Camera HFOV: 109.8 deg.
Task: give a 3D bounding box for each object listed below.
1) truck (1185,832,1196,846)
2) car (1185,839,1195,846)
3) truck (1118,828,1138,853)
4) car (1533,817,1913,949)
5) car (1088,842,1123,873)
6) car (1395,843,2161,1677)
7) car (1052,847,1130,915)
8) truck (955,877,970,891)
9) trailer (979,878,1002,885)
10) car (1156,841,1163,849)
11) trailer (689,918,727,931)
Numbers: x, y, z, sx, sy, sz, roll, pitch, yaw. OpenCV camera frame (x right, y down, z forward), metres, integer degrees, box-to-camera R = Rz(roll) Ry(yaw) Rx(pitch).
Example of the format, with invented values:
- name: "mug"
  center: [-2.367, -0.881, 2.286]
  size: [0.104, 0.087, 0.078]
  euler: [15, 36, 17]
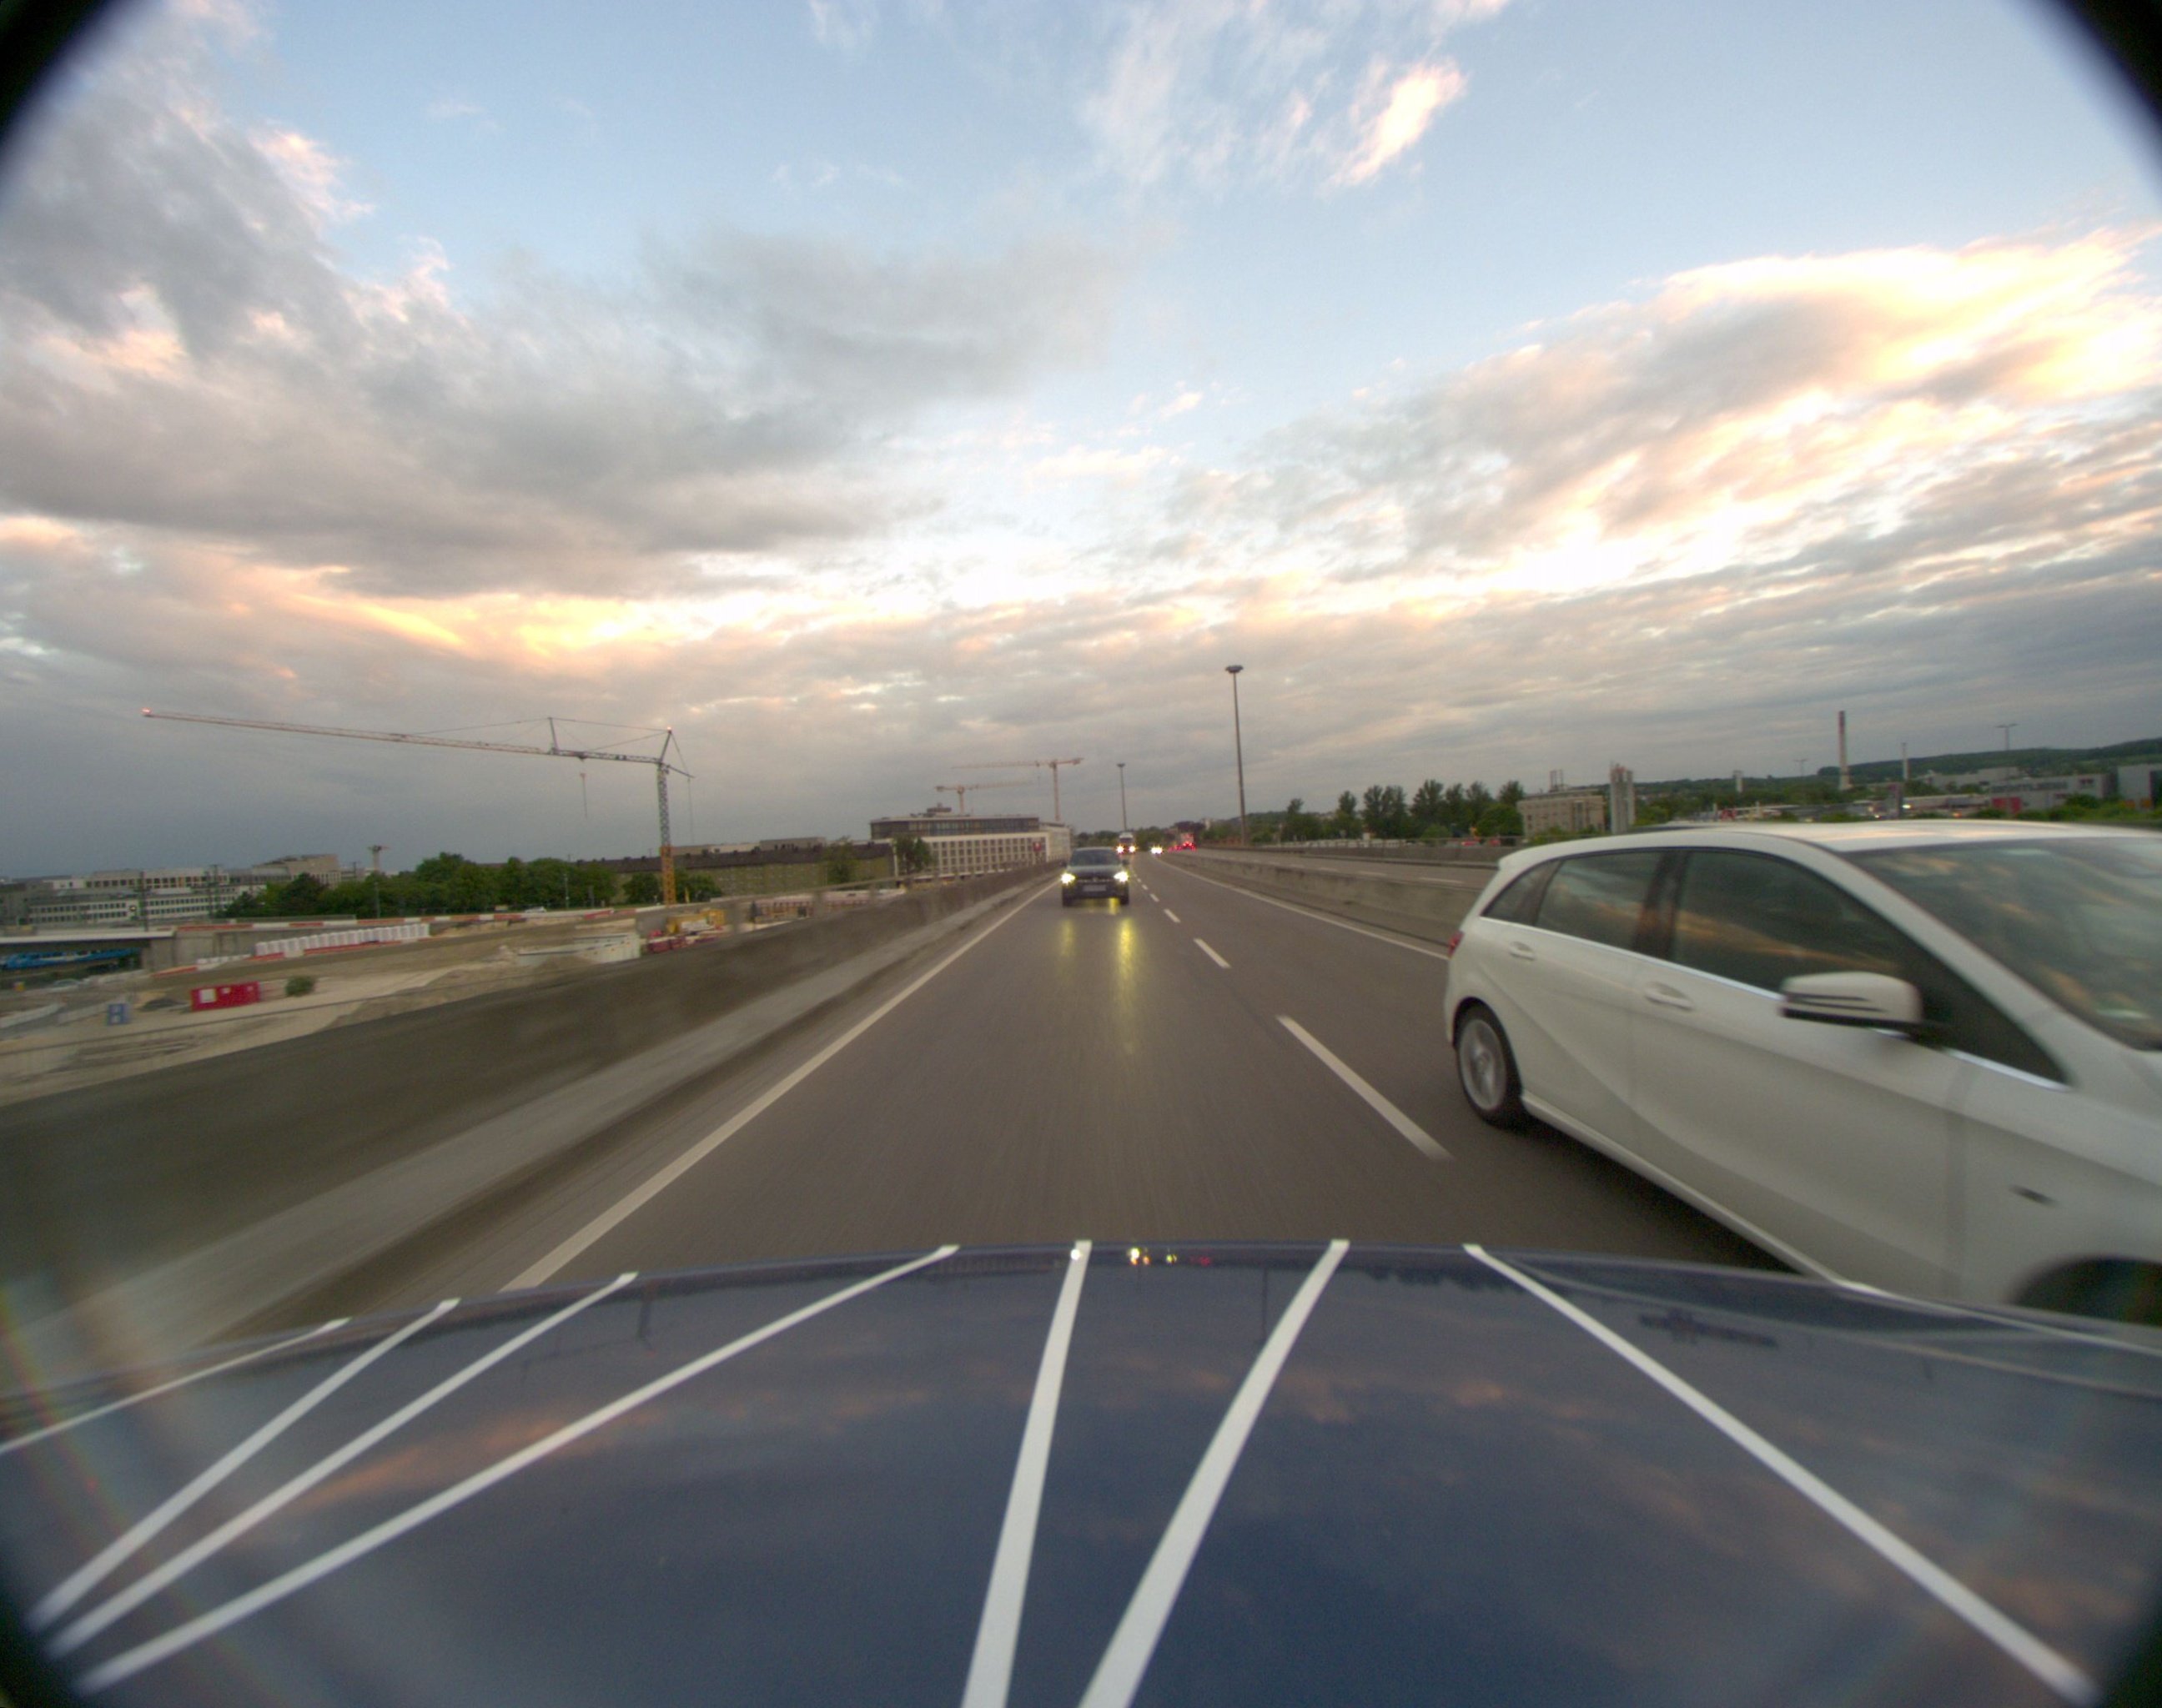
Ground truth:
- name: "truck"
  center: [27.132, -3.837, 188.653]
  size: [2.540, 3.278, 7.449]
  euler: [-2, 1, 7]
- name: "car"
  center: [23.654, -2.512, 165.125]
  size: [1.981, 1.596, 4.442]
  euler: [-3, 1, 5]
- name: "truck"
  center: [8.678, -2.492, 139.307]
  size: [3.164, 4.369, 8.795]
  euler: [-2, 1, 6]
- name: "car"
  center: [8.833, 0.303, 11.073]
  size: [1.834, 1.472, 4.286]
  euler: [-3, 1, -1]
- name: "car"
  center: [1.411, 0.228, 44.696]
  size: [1.891, 1.641, 4.344]
  euler: [-3, -1, 1]
- name: "car"
  center: [2.879, 0.763, 2.521]
  size: [1.695, 1.528, 4.783]
  euler: [-3, 0, 1]
- name: "car"
  center: [0.360, 0.643, 20.470]
  size: [1.823, 1.602, 4.213]
  euler: [-2, 0, 3]
- name: "truck"
  center: [-29.822, 7.513, 190.911]
  size: [2.163, 2.930, 7.338]
  euler: [-6, 0, 1]
- name: "trailer"
  center: [-24.244, 7.312, 204.101]
  size: [5.874, 1.340, 2.024]
  euler: [-3, 1, -13]
- name: "car"
  center: [22.881, -2.582, 220.911]
  size: [1.997, 2.002, 4.001]
  euler: [-3, 1, 7]
- name: "trailer"
  center: [-50.901, 9.604, 103.739]
  size: [1.780, 1.234, 4.259]
  euler: [-5, 0, 32]
